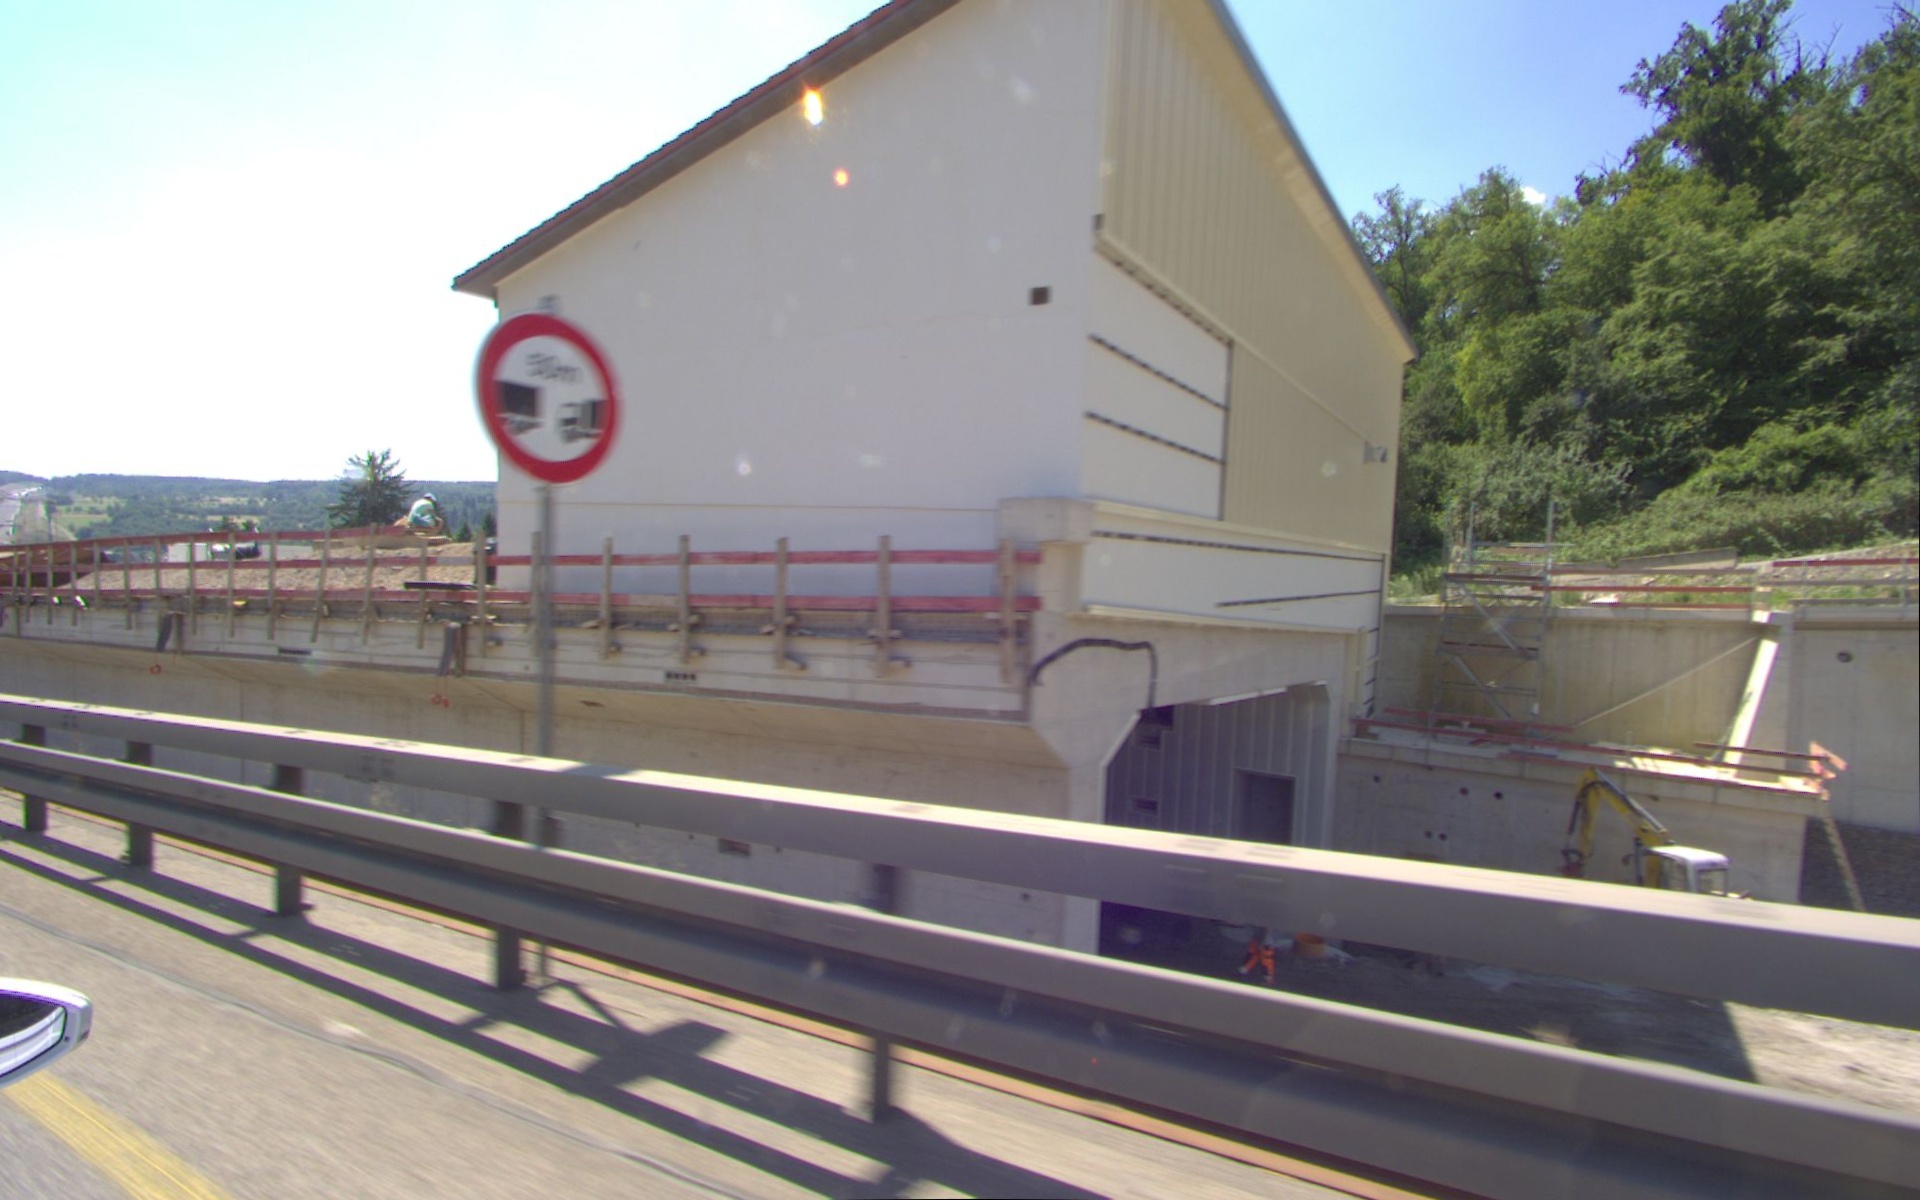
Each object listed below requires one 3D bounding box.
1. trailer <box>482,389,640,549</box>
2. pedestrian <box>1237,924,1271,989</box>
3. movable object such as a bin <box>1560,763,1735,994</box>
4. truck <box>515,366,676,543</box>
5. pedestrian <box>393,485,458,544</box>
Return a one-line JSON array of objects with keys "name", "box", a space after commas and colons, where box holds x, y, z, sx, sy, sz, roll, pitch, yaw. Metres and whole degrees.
[{"name": "trailer", "box": [-12.145, -3.553, 29.866, 2.683, 3.744, 8.937, 1, 1, -33]}, {"name": "pedestrian", "box": [5.545, 6.710, 18.884, 0.544, 1.031, 0.338, -1, -1, 29]}, {"name": "movable object such as a bin", "box": [14.071, 5.553, 20.700, 2.785, 3.869, 2.321, 1, -1, 32]}, {"name": "truck", "box": [-9.535, -3.470, 25.825, 2.683, 3.744, 5.673, 1, 1, -33]}, {"name": "pedestrian", "box": [-12.032, -1.901, 22.548, 0.982, 1.165, 1.016, -1, -2, 39]}]
